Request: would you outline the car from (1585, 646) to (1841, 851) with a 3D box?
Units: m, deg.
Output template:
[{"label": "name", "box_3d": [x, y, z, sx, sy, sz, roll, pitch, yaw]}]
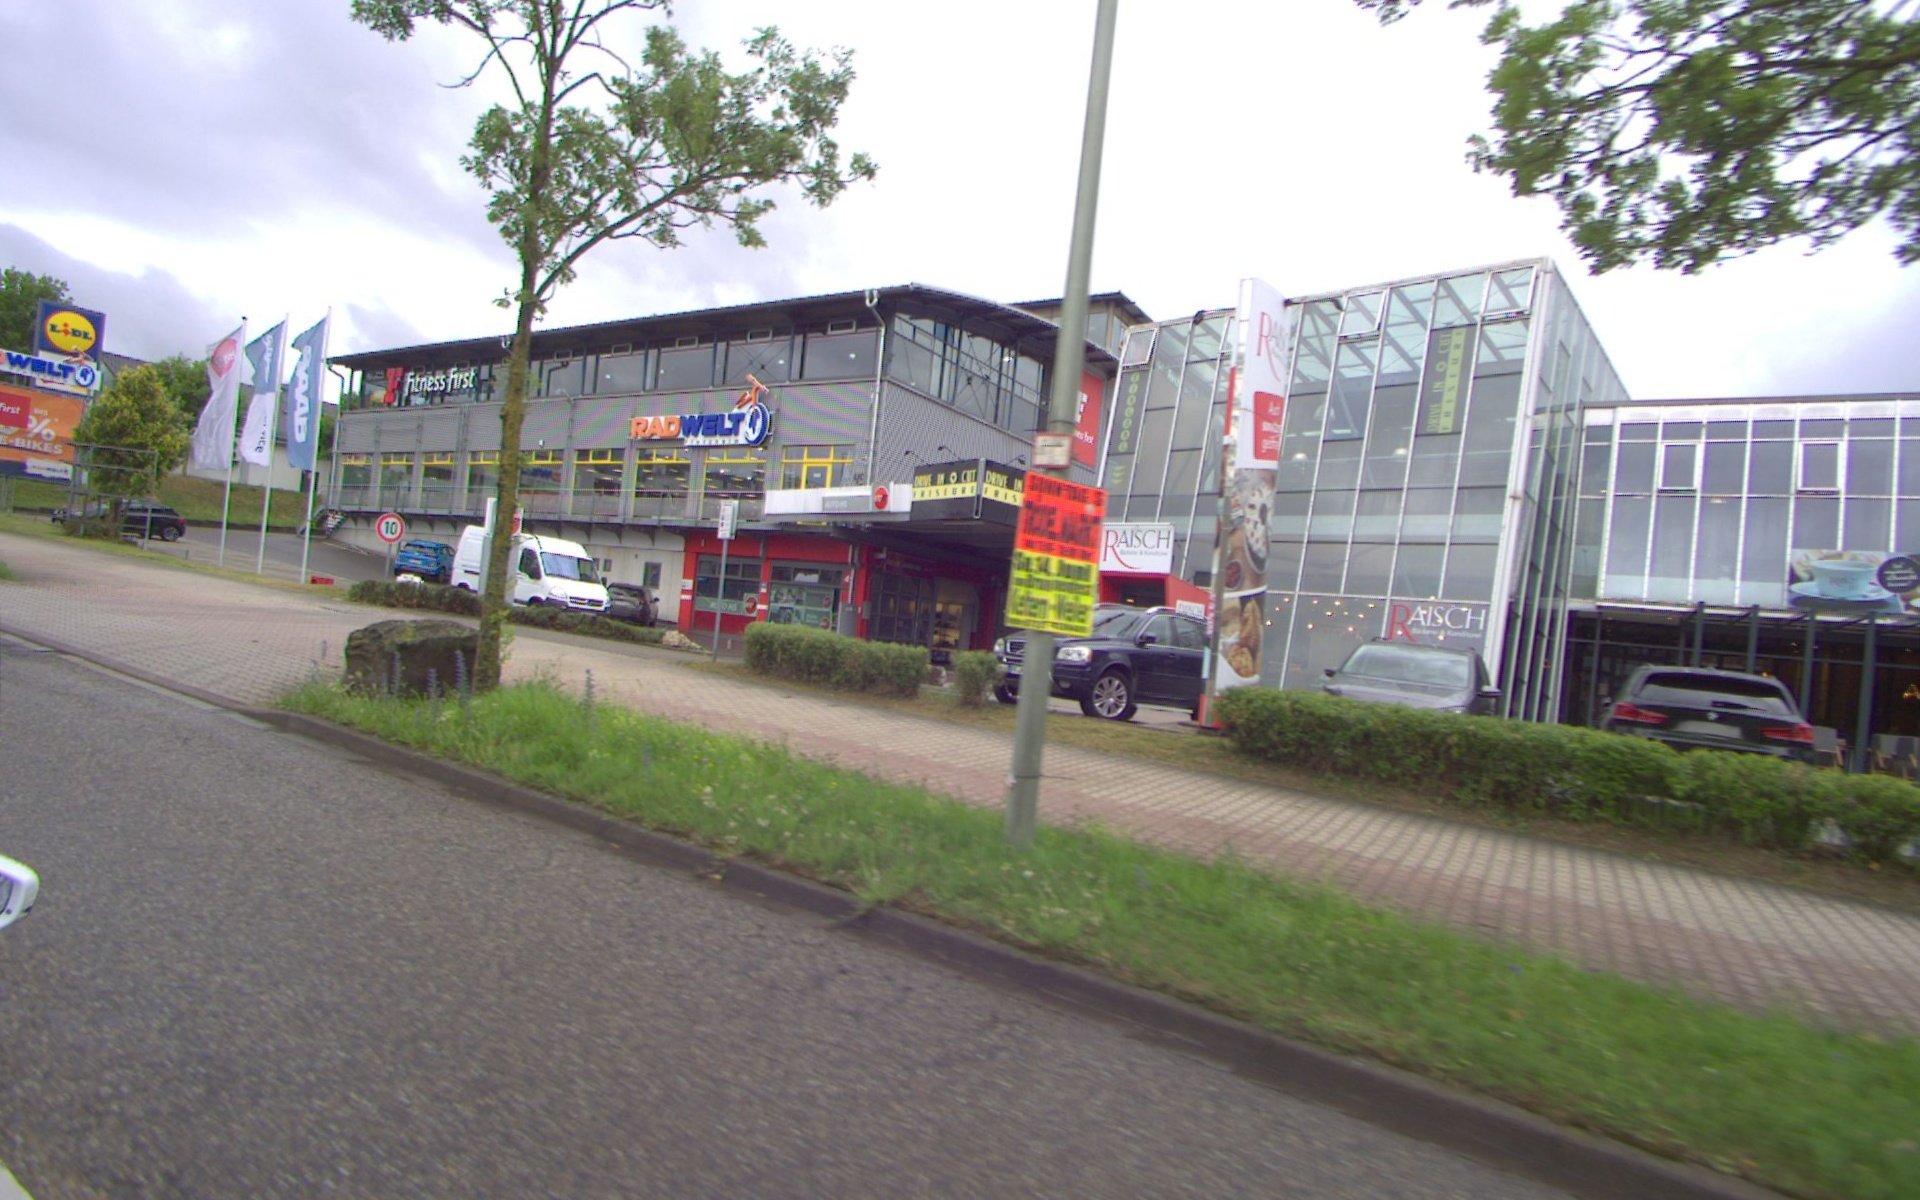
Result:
[{"label": "car", "box_3d": [8.227, 1.433, 11.182, 1.772, 1.622, 4.165, 7, 2, 35]}]

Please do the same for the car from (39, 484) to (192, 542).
[{"label": "car", "box_3d": [-32.589, -3.319, 38.947, 1.763, 1.456, 4.104, 9, 0, 20]}]

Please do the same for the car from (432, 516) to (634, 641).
[{"label": "car", "box_3d": [-11.881, -0.638, 27.851, 5.589, 2.566, 2.230, 9, -1, 35]}]

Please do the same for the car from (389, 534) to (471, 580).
[{"label": "car", "box_3d": [-22.462, -1.788, 42.823, 1.711, 1.578, 3.903, 9, 0, -9]}]

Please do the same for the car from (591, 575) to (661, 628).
[{"label": "car", "box_3d": [-11.889, 0.020, 36.091, 1.756, 1.488, 4.248, 9, 0, -12]}]

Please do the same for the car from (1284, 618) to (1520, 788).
[{"label": "car", "box_3d": [5.760, 1.169, 12.798, 1.799, 1.622, 4.165, 7, 2, 35]}]

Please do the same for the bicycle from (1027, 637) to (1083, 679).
[{"label": "bicycle", "box_3d": [2.929, 1.791, 30.955, 1.786, 1.120, 0.495, 8, -2, -39]}]

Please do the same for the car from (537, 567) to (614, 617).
[{"label": "car", "box_3d": [-14.021, -0.324, 36.934, 1.712, 1.488, 4.250, 9, 0, -10]}]

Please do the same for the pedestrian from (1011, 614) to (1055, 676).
[{"label": "pedestrian", "box_3d": [2.262, 1.396, 31.117, 0.855, 1.798, 0.803, 7, -1, -39]}]

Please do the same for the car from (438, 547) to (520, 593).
[{"label": "car", "box_3d": [-19.707, -1.214, 41.400, 1.710, 1.520, 3.868, 9, 0, -7]}]

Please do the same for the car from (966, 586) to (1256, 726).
[{"label": "car", "box_3d": [2.400, 0.813, 15.031, 1.900, 1.622, 4.643, 7, 2, 42]}]
